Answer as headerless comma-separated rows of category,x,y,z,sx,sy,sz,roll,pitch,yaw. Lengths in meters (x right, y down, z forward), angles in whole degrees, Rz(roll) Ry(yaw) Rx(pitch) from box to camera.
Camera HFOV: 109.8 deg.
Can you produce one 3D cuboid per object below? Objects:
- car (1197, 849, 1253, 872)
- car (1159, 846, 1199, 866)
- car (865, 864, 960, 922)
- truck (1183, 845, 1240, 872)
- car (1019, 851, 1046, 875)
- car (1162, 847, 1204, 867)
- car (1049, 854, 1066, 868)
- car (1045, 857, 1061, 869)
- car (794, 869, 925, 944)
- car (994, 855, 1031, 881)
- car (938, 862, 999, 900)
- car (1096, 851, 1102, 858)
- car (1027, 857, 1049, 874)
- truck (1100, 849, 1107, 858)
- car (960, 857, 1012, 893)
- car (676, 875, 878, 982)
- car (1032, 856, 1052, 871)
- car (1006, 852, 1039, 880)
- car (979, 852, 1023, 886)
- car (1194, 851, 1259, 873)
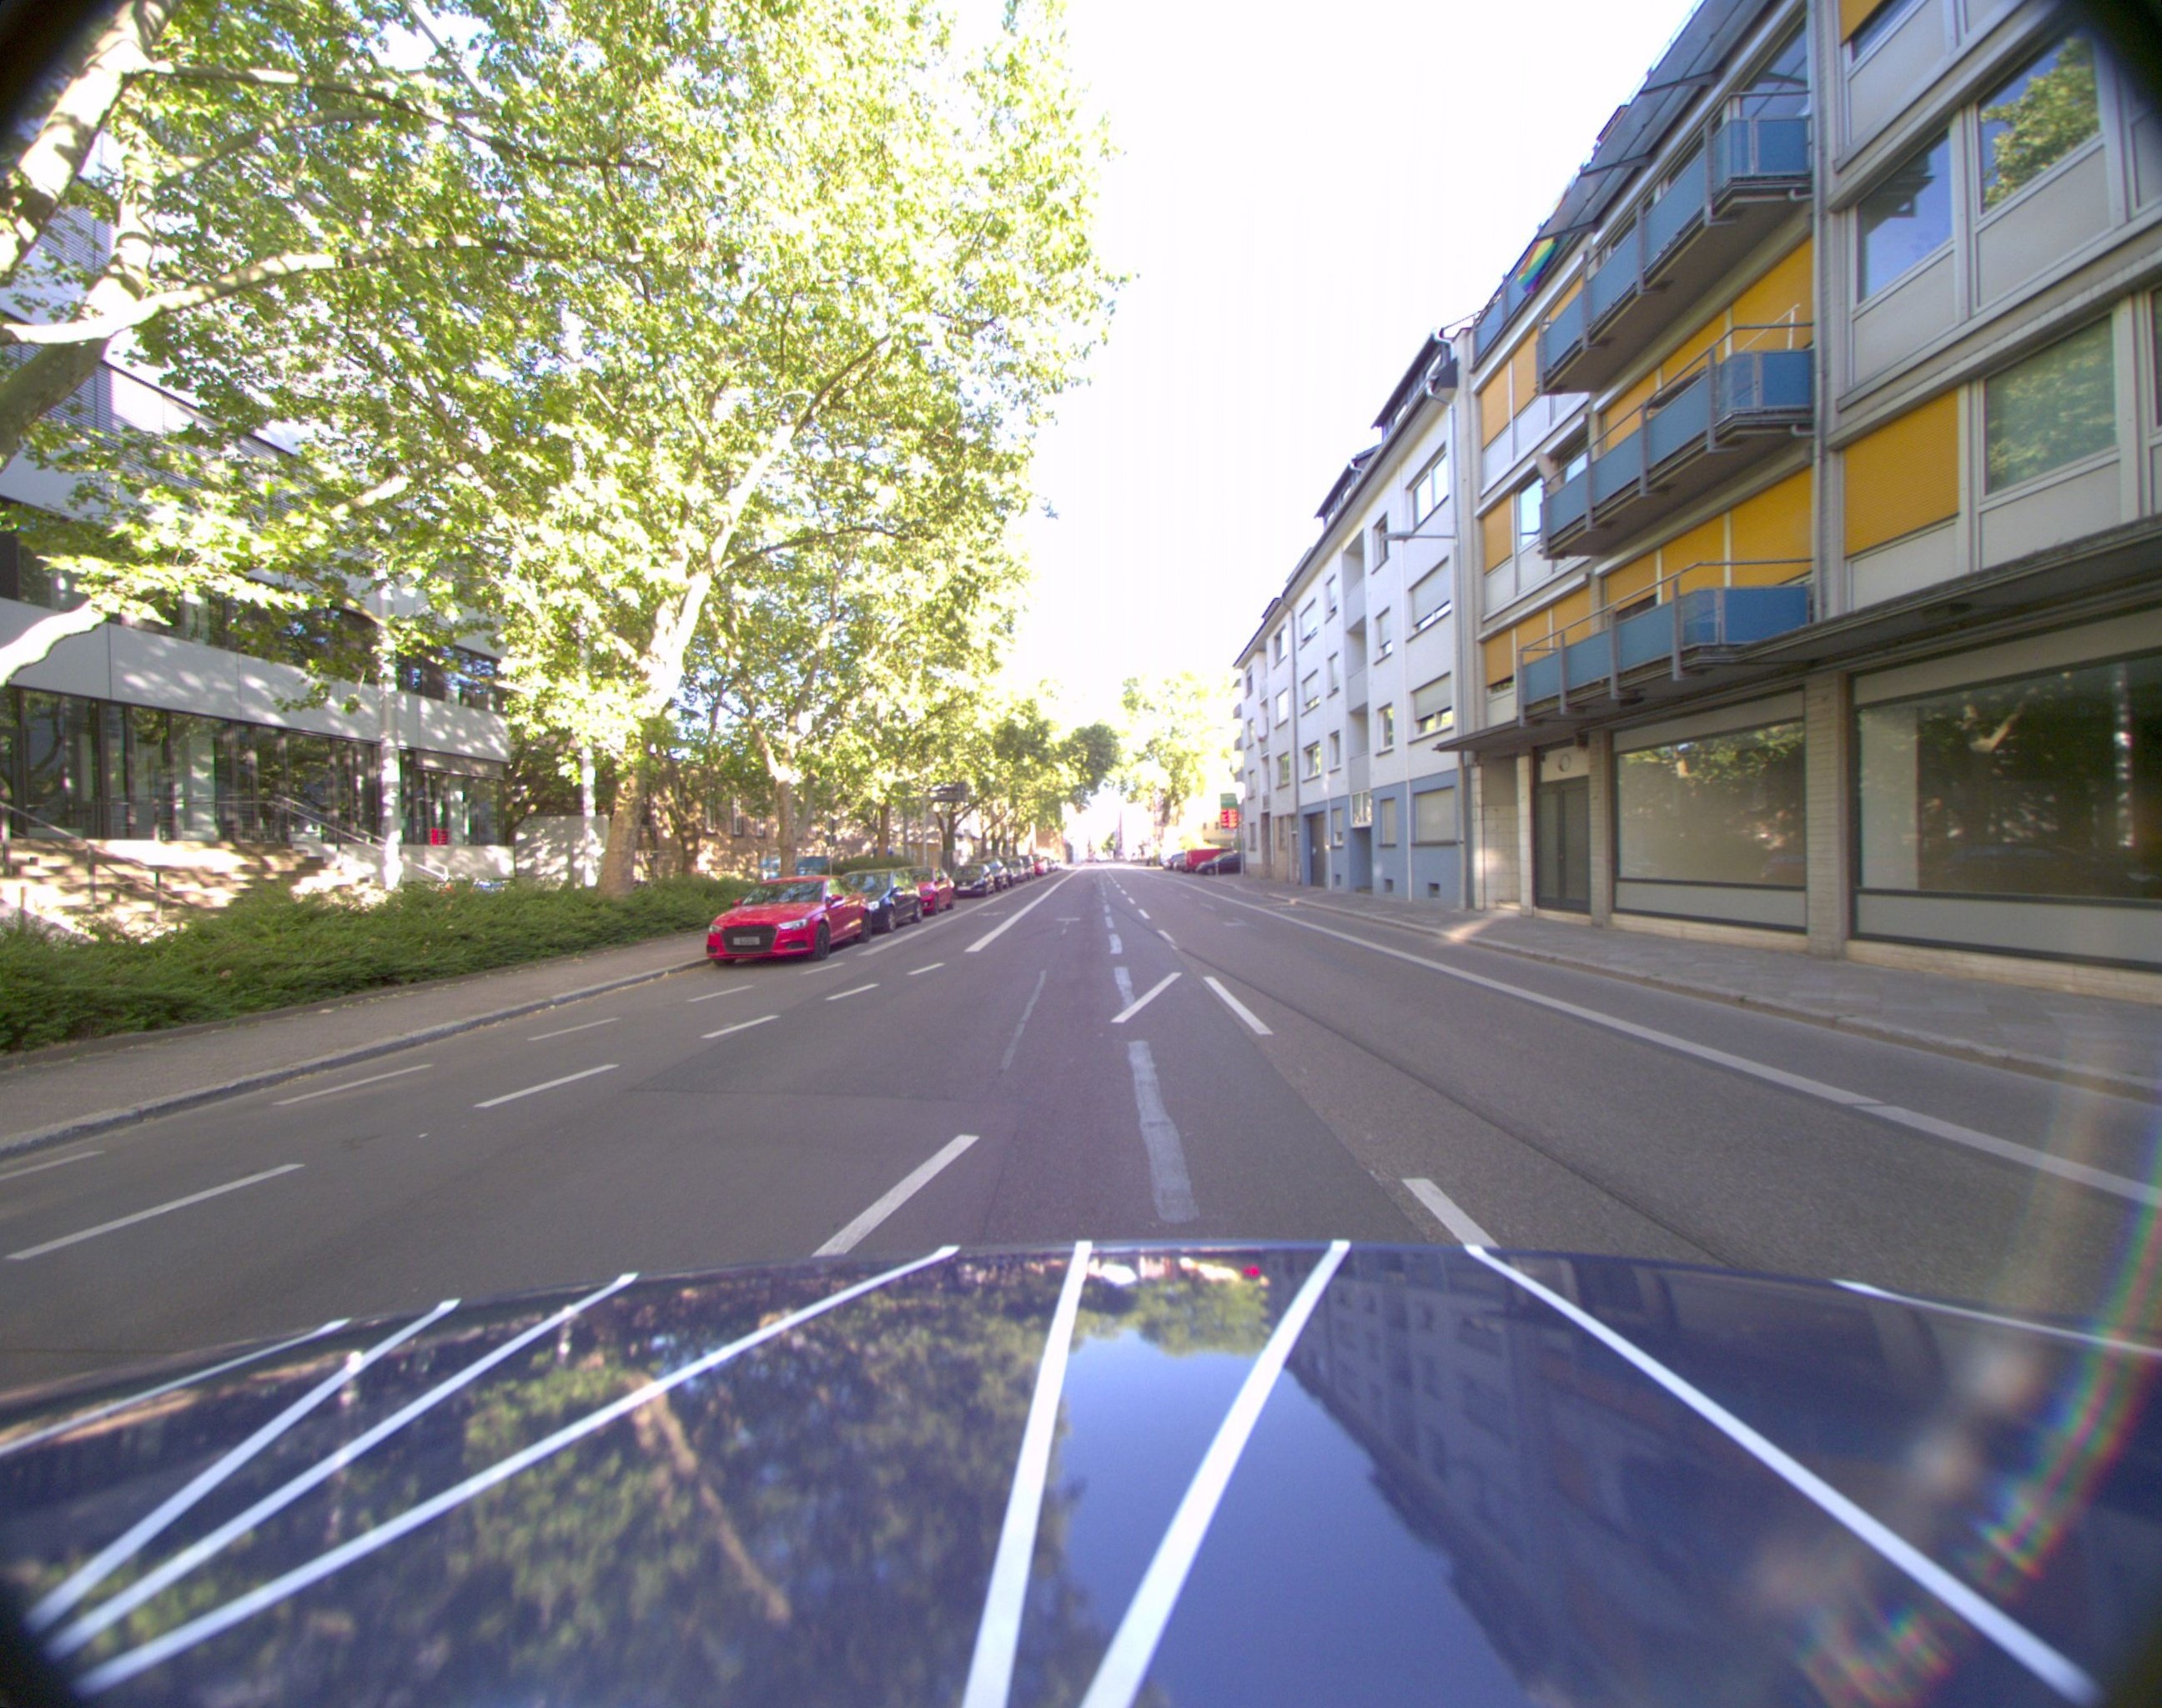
car,10.793,0.455,57.109,3.810,1.563,1.658,-2,1,0
car,10.941,0.223,85.308,4.236,2.025,2.000,-2,1,3
car,-5.135,1.149,23.670,1.998,1.490,3.828,-2,1,1
truck,10.279,0.325,60.205,4.092,1.913,2.000,-2,1,0
car,-4.230,0.781,66.412,1.998,1.960,3.999,-2,1,1
car,10.854,0.289,80.908,4.236,1.945,2.000,-2,1,3
car,-3.195,0.909,103.002,1.998,1.682,3.999,-2,1,1
car,-3.356,1.073,92.732,1.693,1.364,3.999,-2,1,1
car,-5.180,1.169,18.301,1.998,1.452,3.644,-2,1,1
car,-4.528,0.908,50.939,1.998,1.557,4.142,-2,1,1
car,-4.845,1.129,33.173,1.998,1.447,3.589,-2,1,1
car,6.150,0.199,259.449,1.998,2.002,3.999,-2,1,1
car,-4.045,1.083,71.991,1.824,1.466,3.999,-2,1,1
truck,6.863,-0.288,233.818,1.998,2.653,5.314,-2,1,0
car,-4.692,1.006,38.121,1.998,1.592,4.142,-2,1,1
car,-5.194,1.196,13.632,1.907,1.417,3.999,-2,1,1
car,-4.146,0.989,80.743,1.824,1.466,3.999,-2,1,1
car,-4.242,0.845,55.562,1.998,1.838,3.999,-2,1,1
car,-4.615,0.839,44.511,1.998,1.777,4.572,-2,1,1
car,10.448,0.577,54.778,4.324,1.398,1.658,-2,1,0
